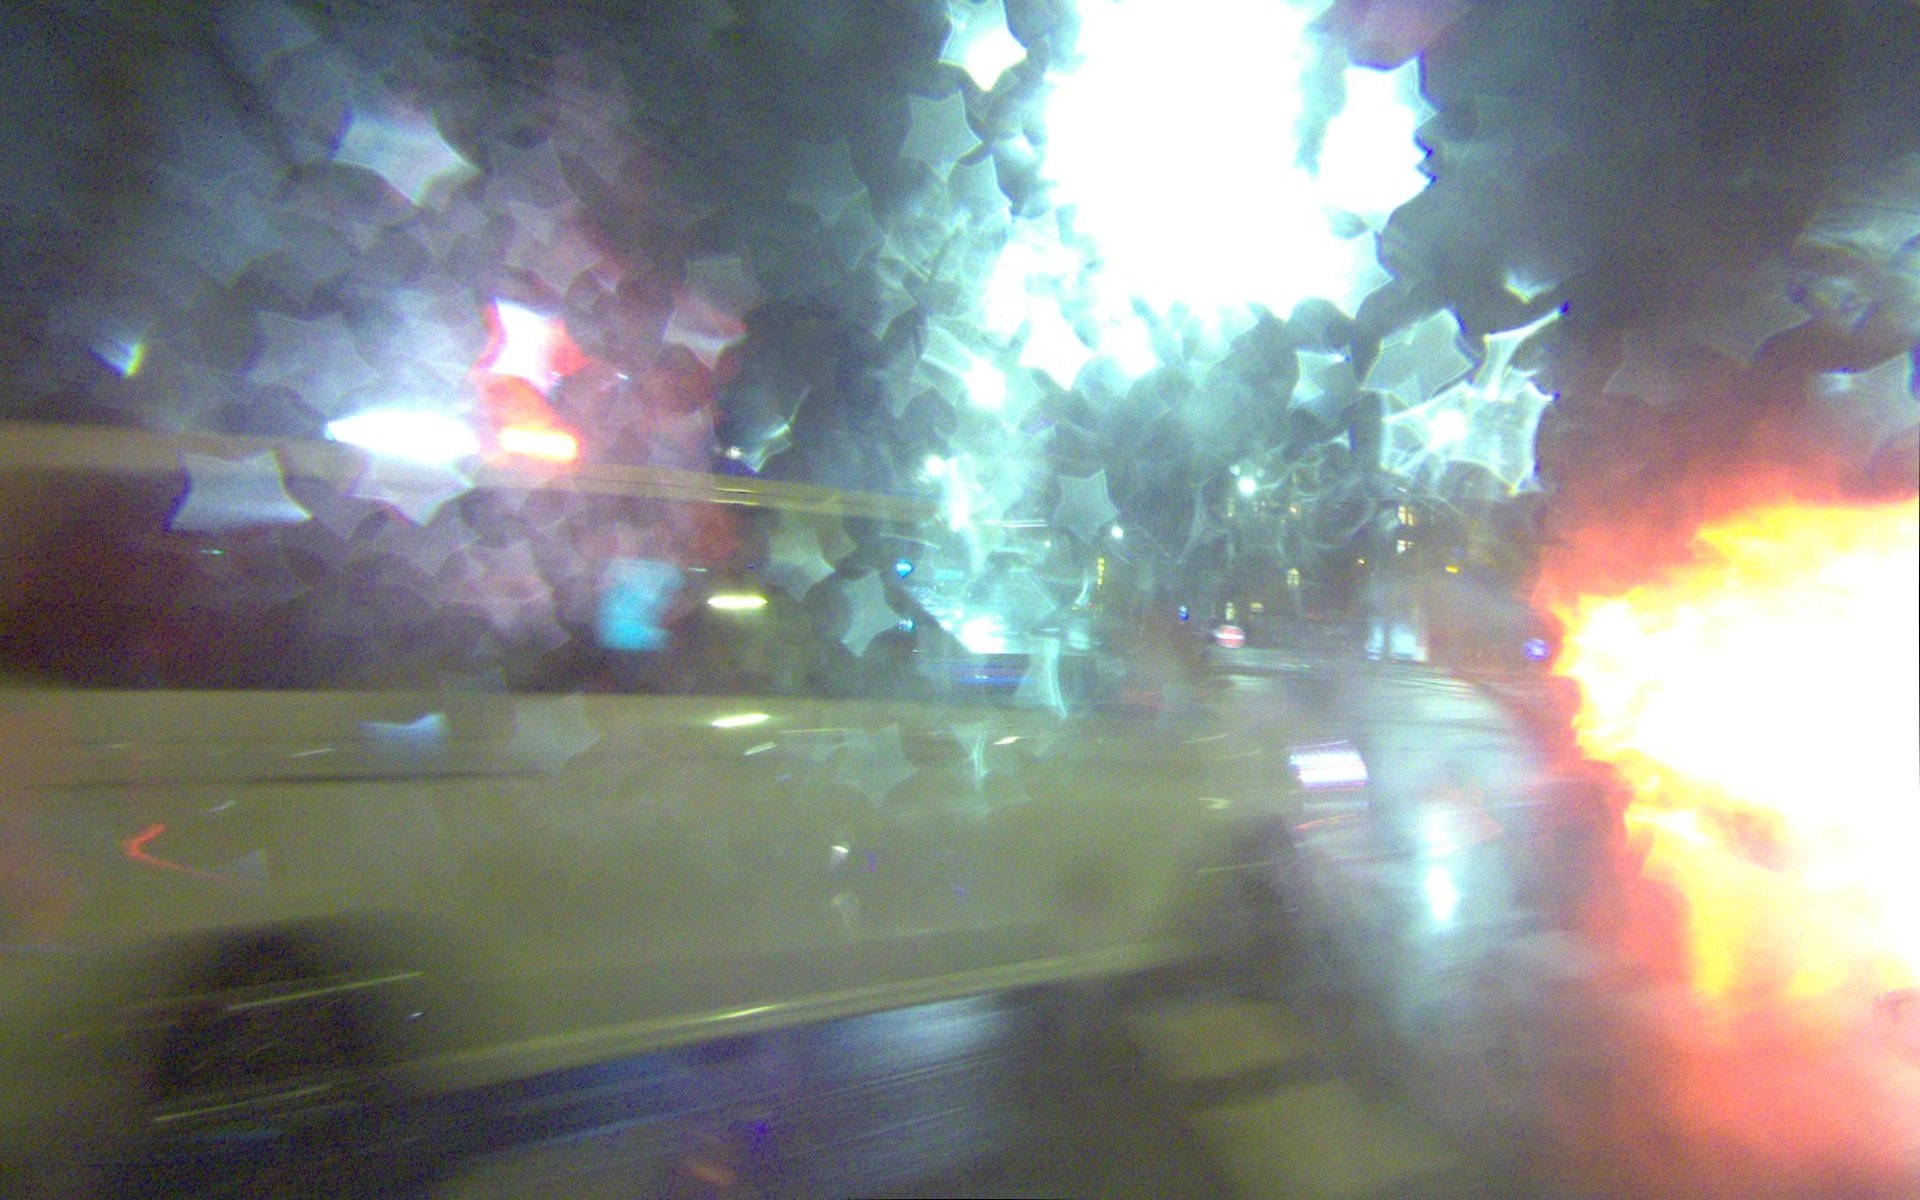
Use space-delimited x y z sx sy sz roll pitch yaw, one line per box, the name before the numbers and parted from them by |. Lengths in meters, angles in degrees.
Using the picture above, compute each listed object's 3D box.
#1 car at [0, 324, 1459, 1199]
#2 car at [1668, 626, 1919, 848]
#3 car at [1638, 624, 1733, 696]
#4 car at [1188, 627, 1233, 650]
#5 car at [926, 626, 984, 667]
car | -0.653 0.489 3.827 5.136 1.979 2.025 1 -1 -29
car | 8.541 1.102 9.177 4.677 1.563 1.807 3 -1 -34
car | 20.387 1.620 28.164 1.869 1.804 4.314 1 -1 40
car | 21.356 3.305 85.737 2.051 1.804 4.324 2 -1 -11
car | -0.258 1.963 43.124 1.863 1.590 4.327 2 -1 -8
